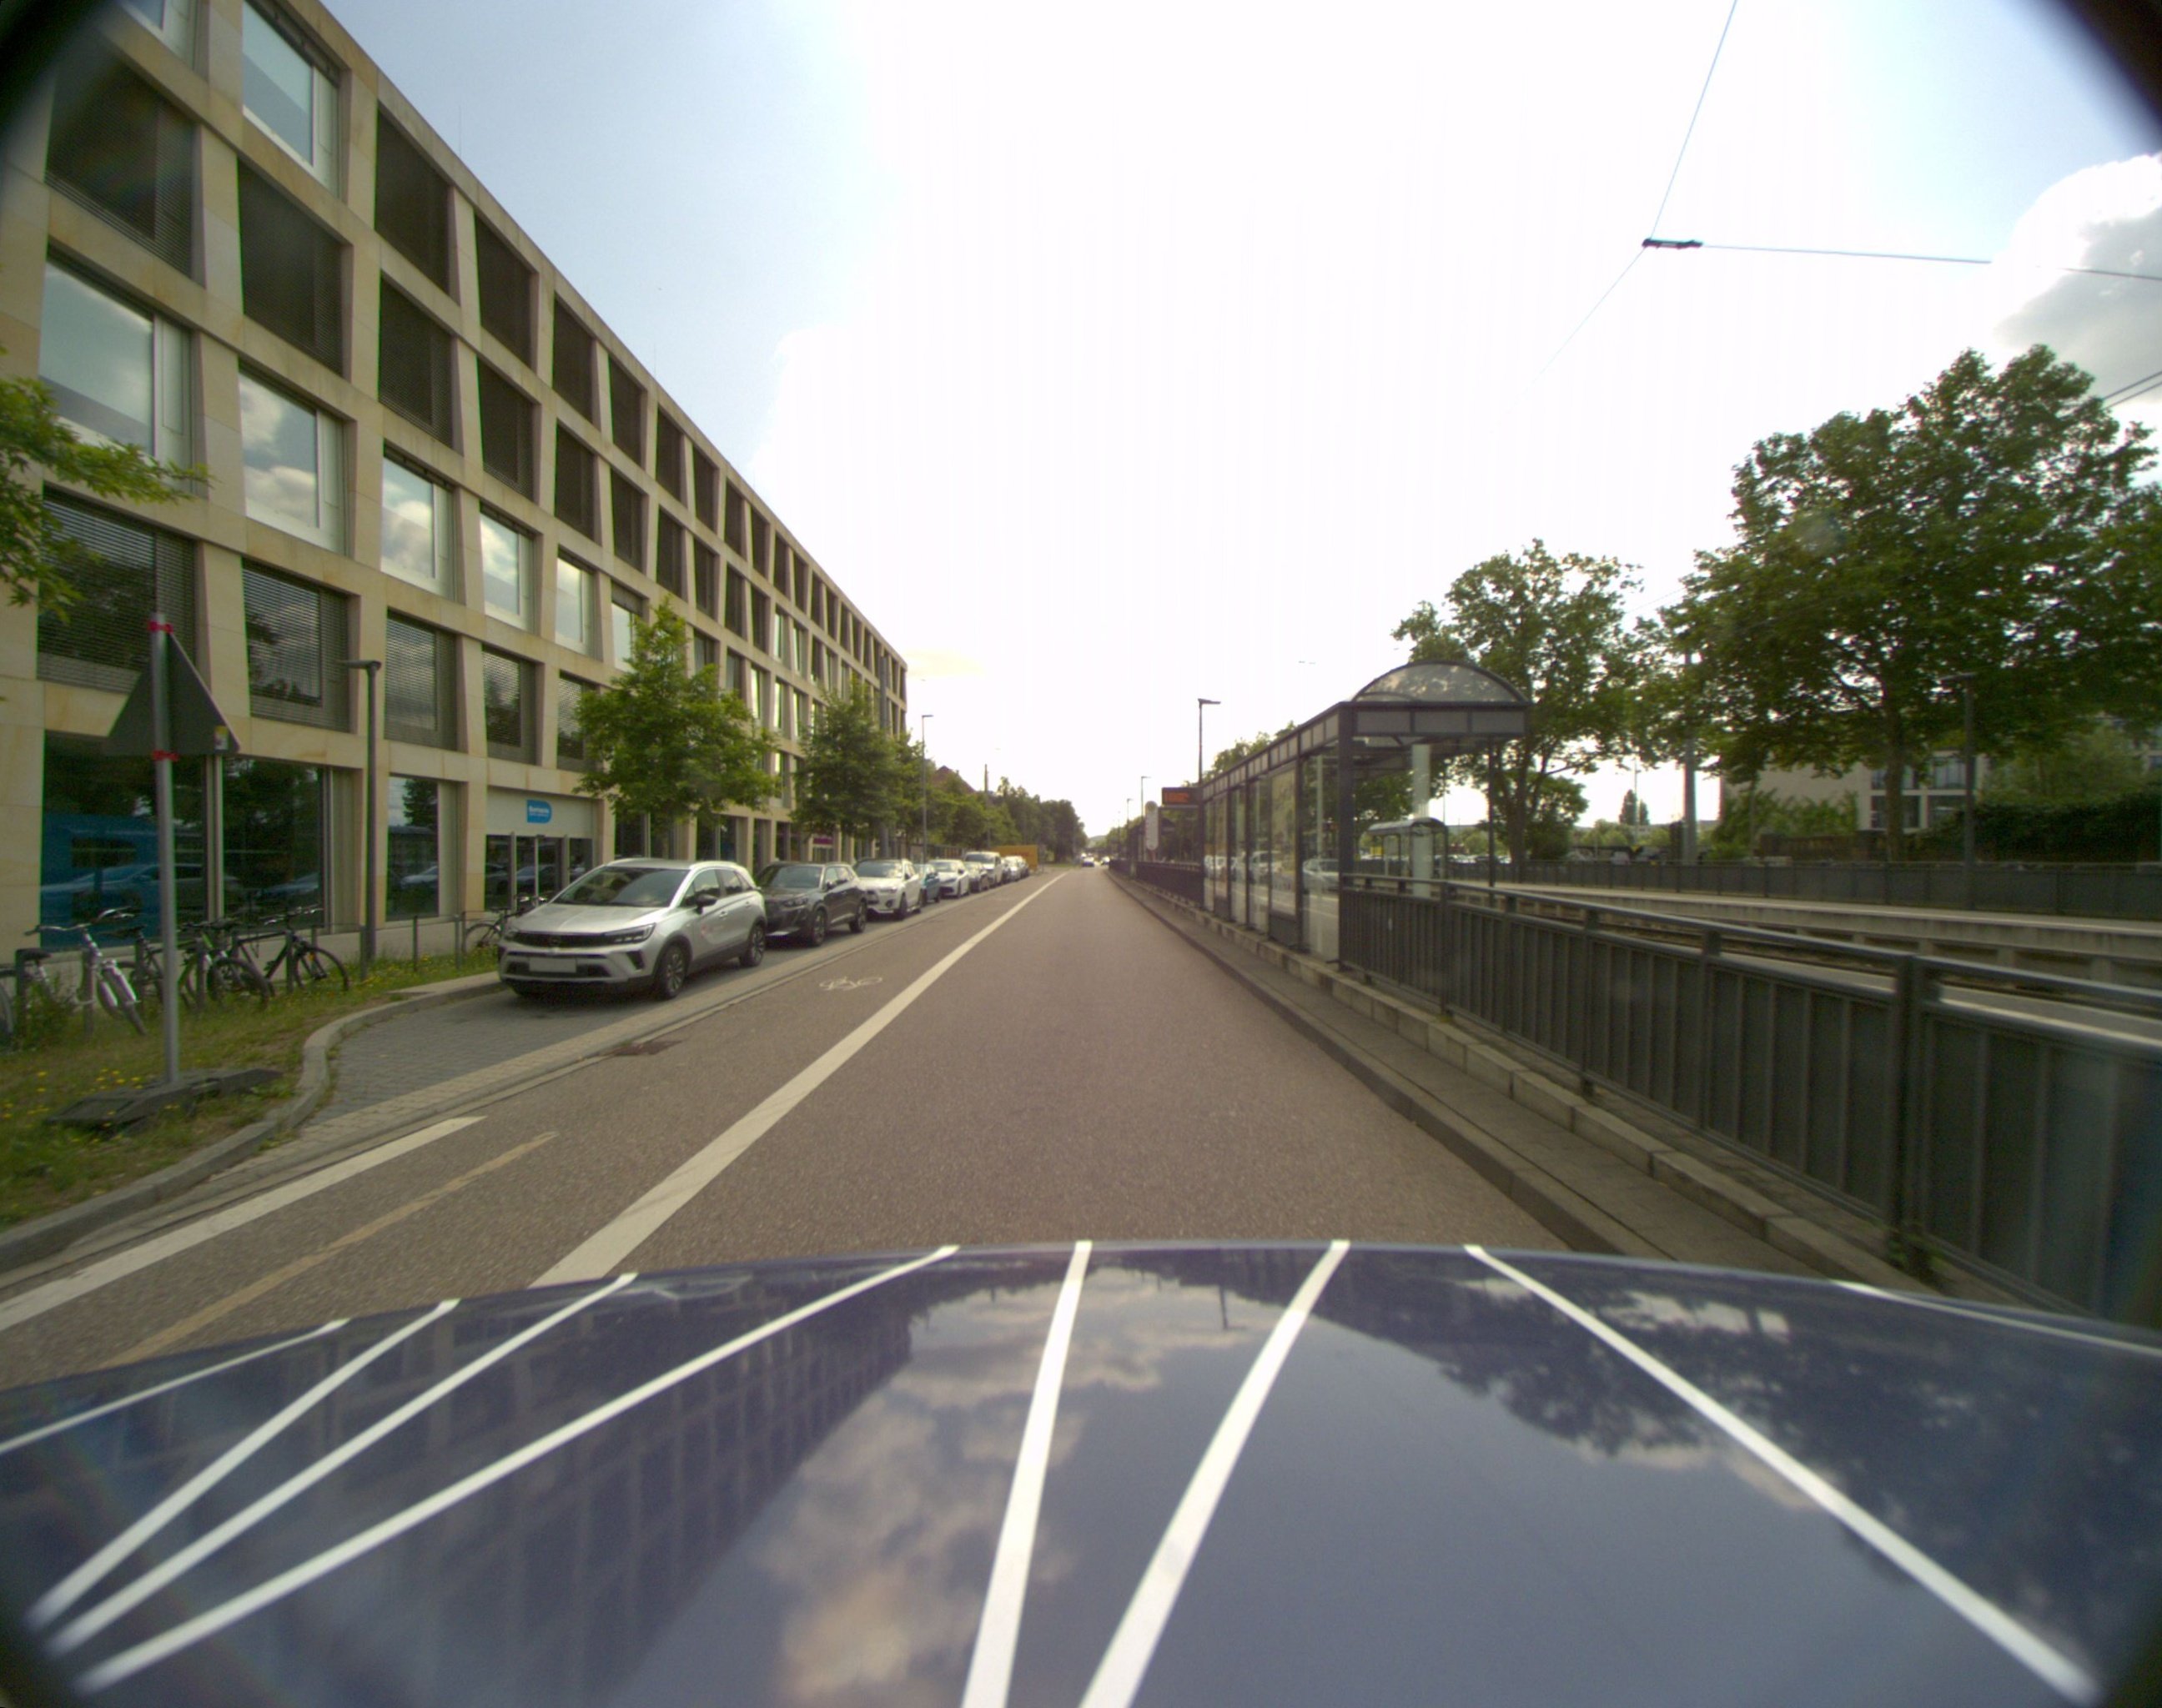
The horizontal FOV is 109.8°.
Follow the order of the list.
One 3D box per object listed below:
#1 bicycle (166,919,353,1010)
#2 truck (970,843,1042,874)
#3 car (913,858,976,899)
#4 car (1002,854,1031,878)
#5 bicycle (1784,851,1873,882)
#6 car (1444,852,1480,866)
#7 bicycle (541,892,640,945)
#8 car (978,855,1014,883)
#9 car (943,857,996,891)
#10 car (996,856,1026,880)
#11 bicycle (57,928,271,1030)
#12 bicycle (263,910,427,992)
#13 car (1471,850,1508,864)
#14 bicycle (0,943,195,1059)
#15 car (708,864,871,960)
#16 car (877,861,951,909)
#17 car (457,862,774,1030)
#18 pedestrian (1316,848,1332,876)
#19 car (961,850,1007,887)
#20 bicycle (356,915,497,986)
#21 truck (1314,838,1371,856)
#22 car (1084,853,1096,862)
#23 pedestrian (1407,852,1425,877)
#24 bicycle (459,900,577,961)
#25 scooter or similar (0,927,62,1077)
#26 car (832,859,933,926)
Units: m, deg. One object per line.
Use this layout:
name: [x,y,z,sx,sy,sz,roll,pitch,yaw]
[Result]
bicycle: [-9.022,1.208,8.375,1.499,0.912,0.505,0,4,3]
truck: [-7.200,0.402,73.711,6.824,2.851,2.454,0,1,-2]
car: [-5.564,0.966,31.420,1.797,1.521,4.158,1,0,0]
car: [-4.873,0.858,58.056,1.773,1.757,4.839,0,0,0]
bicycle: [32.687,0.532,33.256,3.045,1.161,0.634,-3,1,5]
car: [41.382,0.554,82.615,1.802,1.467,4.000,0,0,0]
bicycle: [-9.162,1.198,14.210,1.499,0.912,0.505,0,4,3]
car: [-5.229,0.890,47.308,1.725,1.631,4.527,1,0,0]
car: [-5.316,0.916,36.847,1.886,1.478,4.563,1,0,0]
car: [-4.840,0.937,53.207,1.725,1.610,3.859,0,0,0]
bicycle: [-9.072,1.227,7.544,1.499,0.912,0.505,0,4,3]
bicycle: [-8.990,1.178,9.308,1.499,0.912,0.505,0,4,3]
car: [44.326,0.306,82.509,1.802,1.467,4.000,0,0,0]
bicycle: [-8.917,1.286,6.746,1.499,0.912,0.505,0,4,3]
car: [-5.542,1.025,15.013,1.690,1.539,3.926,1,0,0]
car: [-5.740,1.018,26.540,1.690,1.449,3.950,1,0,0]
car: [-5.563,0.968,9.769,1.690,1.624,3.989,2,0,-2]
pedestrian: [15.745,0.517,49.214,0.708,1.834,0.864,0,1,-2]
car: [-5.296,0.763,42.171,1.886,1.928,4.843,1,0,0]
bicycle: [-9.074,1.330,10.564,1.499,0.912,0.505,0,4,3]
truck: [63.541,-1.708,184.652,12.818,4.050,2.748,1,1,2]
car: [1.539,0.596,128.760,1.784,1.531,4.420,1,0,-1]
pedestrian: [16.767,0.515,38.060,0.554,1.262,0.768,0,0,2]
bicycle: [-9.061,1.226,12.256,1.499,0.912,0.505,0,4,3]
scooter or similar: [-9.201,1.214,6.109,1.054,1.168,0.719,-1,1,4]
car: [-5.349,0.979,20.998,1.690,1.596,4.151,1,0,0]
